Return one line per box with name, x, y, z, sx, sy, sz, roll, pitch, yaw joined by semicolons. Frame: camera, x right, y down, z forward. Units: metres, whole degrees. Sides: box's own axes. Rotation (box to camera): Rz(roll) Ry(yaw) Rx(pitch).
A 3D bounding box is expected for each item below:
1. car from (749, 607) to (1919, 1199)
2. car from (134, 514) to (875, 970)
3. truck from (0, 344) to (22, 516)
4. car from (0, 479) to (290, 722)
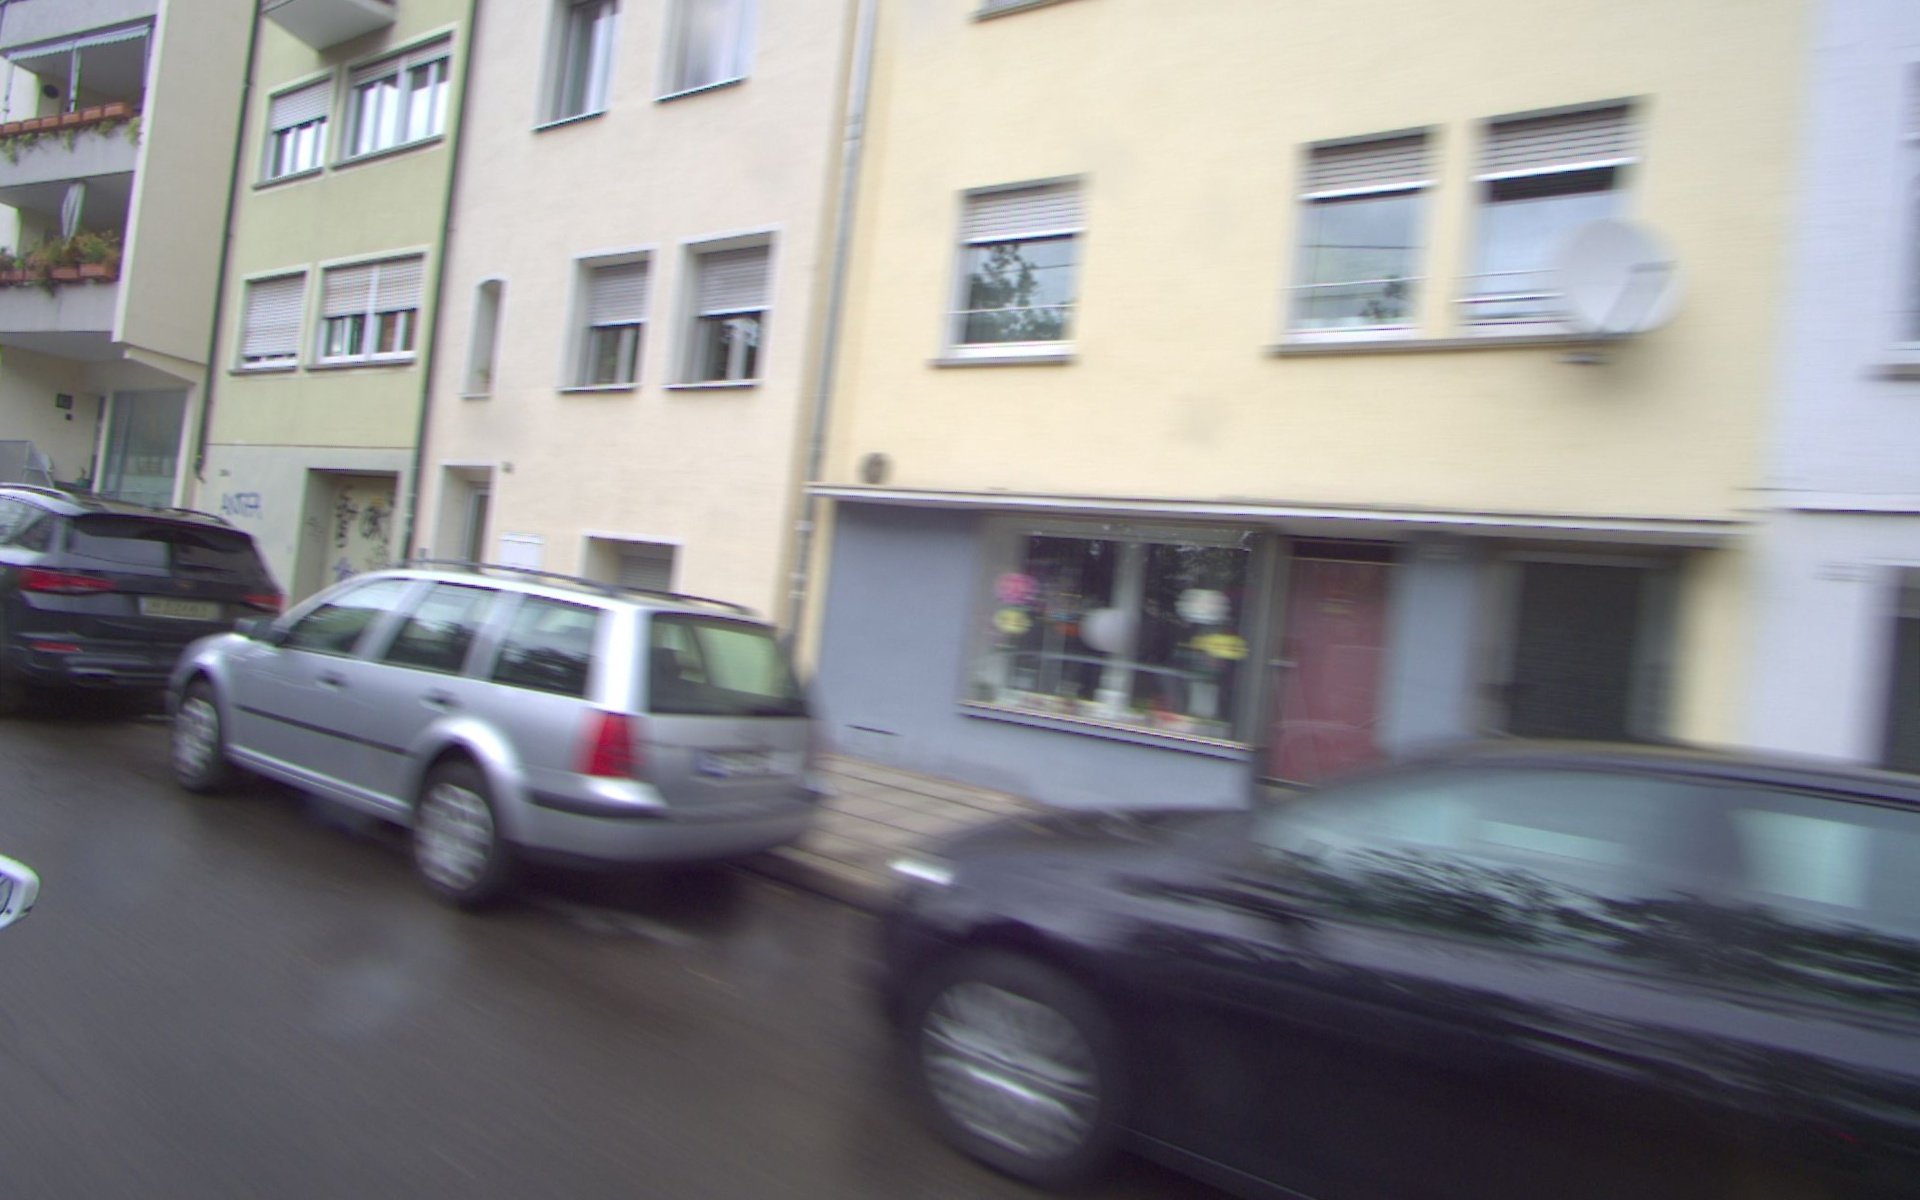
car;1.268;1.017;3.043;3.443;1.487;1.580;7;-1;31
car;-2.665;0.531;5.610;4.030;1.517;1.666;7;-1;32
truck;-15.507;-2.008;13.397;6.920;3.209;2.474;6;-1;32
car;-7.571;-0.117;8.365;4.030;1.591;1.666;7;-1;32
